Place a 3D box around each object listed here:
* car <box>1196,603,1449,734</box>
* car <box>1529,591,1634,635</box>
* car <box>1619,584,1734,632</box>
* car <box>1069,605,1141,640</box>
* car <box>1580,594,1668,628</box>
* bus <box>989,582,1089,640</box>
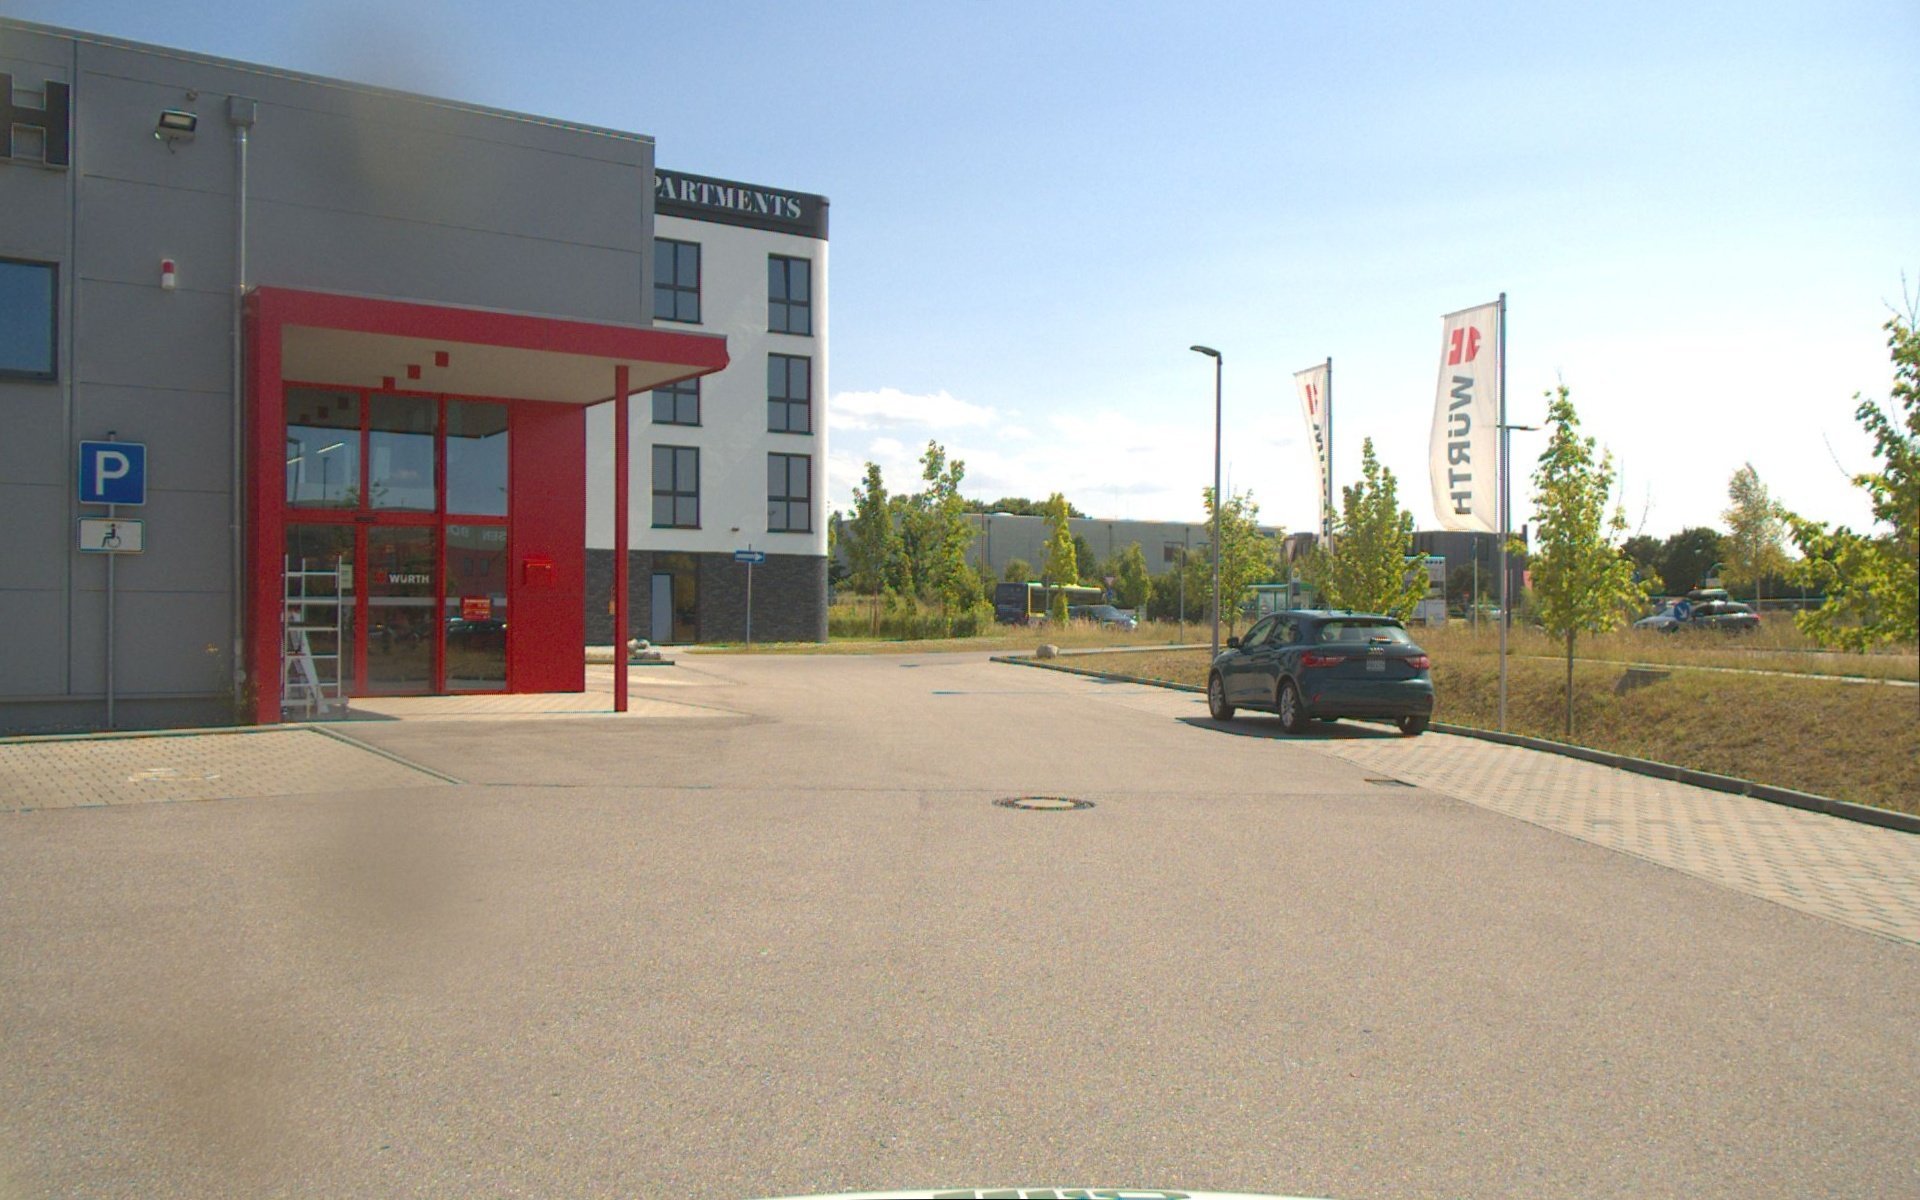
[{"bbox_3d":[4.355,0.776,20.480,1.668,1.431,3.887,1,0,-11],"label":"car"},{"bbox_3d":[23.732,0.486,63.163,3.607,1.625,1.702,0,0,-24],"label":"car"},{"bbox_3d":[24.974,0.268,57.653,3.607,1.625,1.702,0,0,-24],"label":"car"},{"bbox_3d":[6.463,1.000,74.009,1.692,1.468,3.682,0,1,-23],"label":"car"},{"bbox_3d":[28.516,0.462,71.057,3.662,1.420,1.575,0,0,-29],"label":"car"},{"bbox_3d":[5.367,0.635,109.241,2.516,3.619,11.243,1,1,25],"label":"bus"}]
